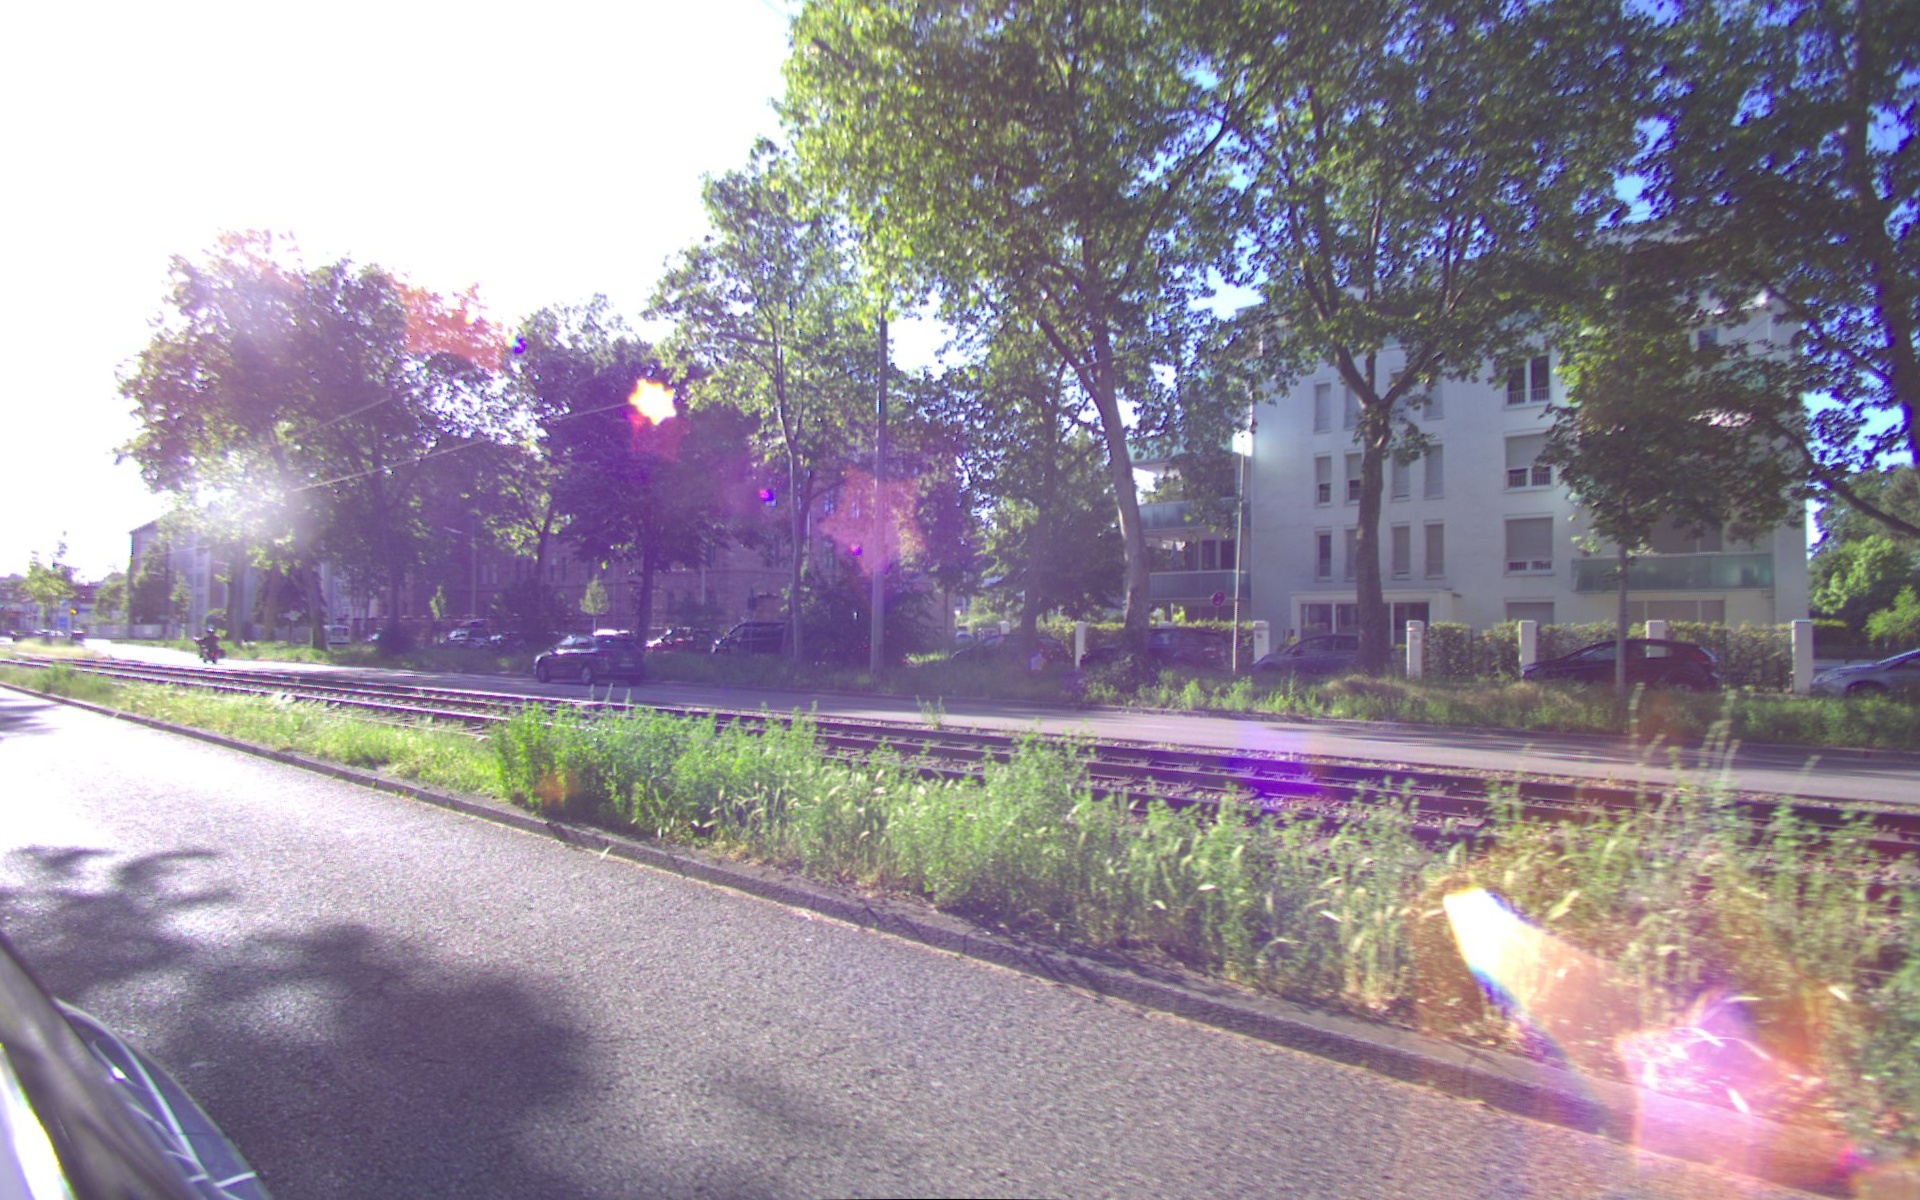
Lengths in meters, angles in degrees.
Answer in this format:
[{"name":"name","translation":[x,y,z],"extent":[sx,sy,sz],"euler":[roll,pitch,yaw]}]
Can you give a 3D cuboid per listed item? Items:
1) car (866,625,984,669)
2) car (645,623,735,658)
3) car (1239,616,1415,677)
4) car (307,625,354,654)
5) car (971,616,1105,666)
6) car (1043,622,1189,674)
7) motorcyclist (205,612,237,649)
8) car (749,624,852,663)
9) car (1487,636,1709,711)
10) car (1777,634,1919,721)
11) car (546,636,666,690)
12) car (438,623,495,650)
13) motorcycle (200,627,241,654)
[{"name":"car","translation":[-1.296,1.650,36.262],"extent":[3.998,1.497,1.973],"euler":[-2,-3,41]},{"name":"car","translation":[-12.064,1.806,45.084],"extent":[3.998,1.497,1.973],"euler":[-2,-3,41]},{"name":"car","translation":[9.643,1.207,26.730],"extent":[3.998,1.484,1.778],"euler":[-2,-3,41]},{"name":"car","translation":[-45.454,2.828,73.046],"extent":[4.002,2.029,1.971],"euler":[-2,-3,45]},{"name":"car","translation":[2.509,1.320,32.978],"extent":[3.998,1.497,1.973],"euler":[-2,-2,41]},{"name":"car","translation":[4.713,1.432,30.906],"extent":[3.998,1.497,1.973],"euler":[-2,-3,41]},{"name":"motorcyclist","translation":[-59.498,2.442,81.465],"extent":[1.679,2.944,1.725],"euler":[-2,-3,40]},{"name":"car","translation":[-6.411,1.711,40.447],"extent":[3.998,1.497,1.973],"euler":[-2,-3,41]},{"name":"car","translation":[14.360,1.585,22.886],"extent":[3.998,1.544,1.973],"euler":[-2,-3,41]},{"name":"car","translation":[18.639,1.449,19.306],"extent":[4.653,1.603,1.973],"euler":[-2,-3,41]},{"name":"car","translation":[-10.497,1.809,29.920],"extent":[3.686,1.497,1.748],"euler":[-2,-3,41]},{"name":"car","translation":[-28.908,2.123,59.242],"extent":[3.686,1.497,1.748],"euler":[-2,-3,41]},{"name":"motorcycle","translation":[-59.663,3.260,81.615],"extent":[3.996,2.073,1.707],"euler":[-2,-3,39]}]
